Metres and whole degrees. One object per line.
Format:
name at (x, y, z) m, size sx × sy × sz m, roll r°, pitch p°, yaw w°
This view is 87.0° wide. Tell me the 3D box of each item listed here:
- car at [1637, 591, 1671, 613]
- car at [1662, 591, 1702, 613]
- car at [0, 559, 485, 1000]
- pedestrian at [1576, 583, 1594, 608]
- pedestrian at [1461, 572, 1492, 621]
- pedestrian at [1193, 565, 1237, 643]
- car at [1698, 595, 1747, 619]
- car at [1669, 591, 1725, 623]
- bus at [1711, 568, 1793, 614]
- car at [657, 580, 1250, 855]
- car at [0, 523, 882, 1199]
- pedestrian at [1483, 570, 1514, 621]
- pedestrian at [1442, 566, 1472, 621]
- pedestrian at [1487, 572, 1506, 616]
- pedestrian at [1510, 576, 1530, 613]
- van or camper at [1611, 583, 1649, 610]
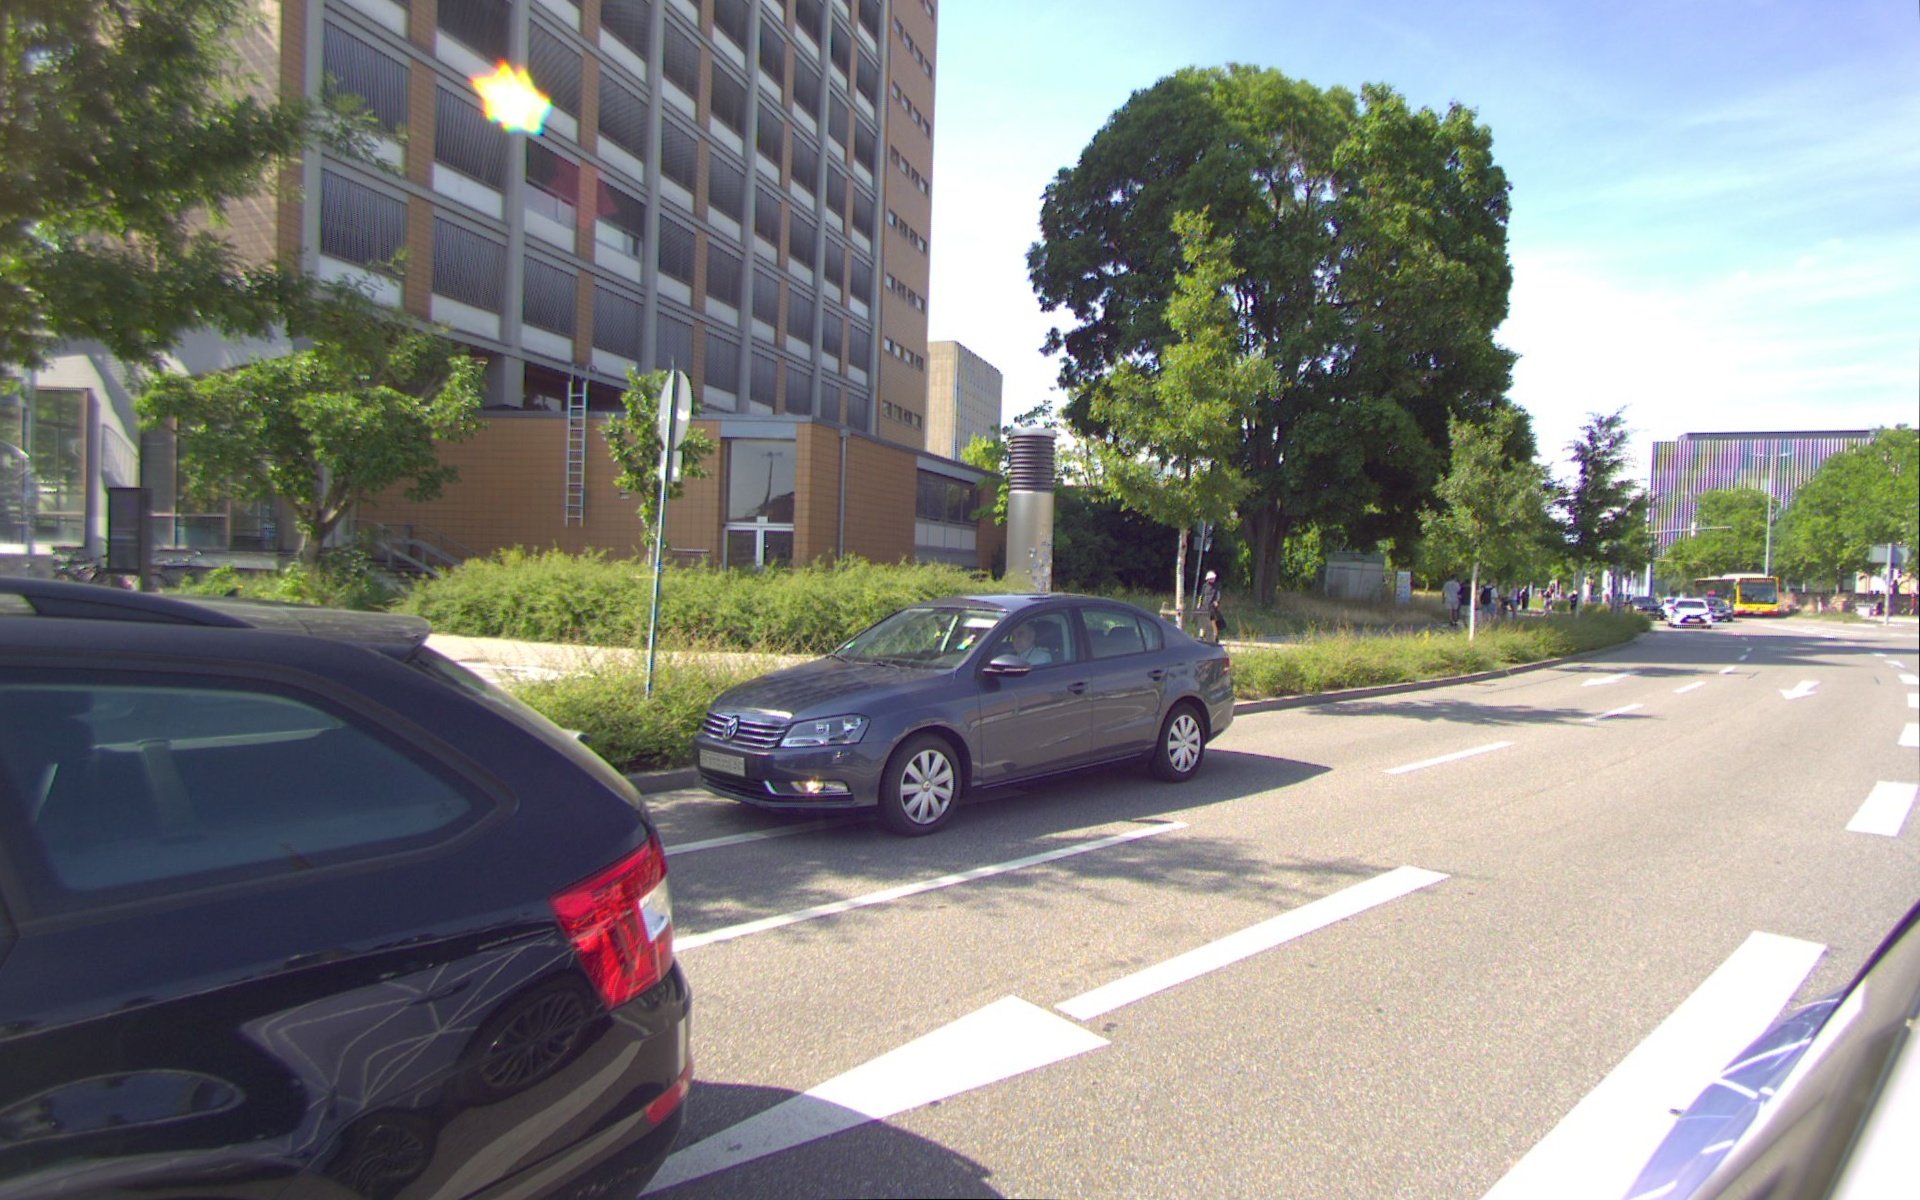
car at (43.877, 0.112, 64.006) m, size 1.398 × 1.311 × 3.544 m, roll 2°, pitch 2°, yaw 29°
car at (51.112, 0.116, 71.662) m, size 1.635 × 1.442 × 4.083 m, roll 0°, pitch 0°, yaw 26°
car at (-4.199, 0.559, 3.484) m, size 4.324 × 1.447 × 1.702 m, roll 1°, pitch 1°, yaw -43°
pedestrian at (29.017, -0.218, 47.008) m, size 0.639 × 1.145 × 0.743 m, roll 4°, pitch 3°, yaw 33°
pedestrian at (17.704, -0.122, 34.706) m, size 0.719 × 1.646 × 0.643 m, roll 0°, pitch 3°, yaw -41°
pedestrian at (5.685, 0.079, 22.592) m, size 0.719 × 1.684 × 0.592 m, roll 0°, pitch 3°, yaw -41°
car at (47.348, 0.405, 62.901) m, size 1.635 × 1.442 × 4.083 m, roll 0°, pitch 0°, yaw 26°
car at (36.665, 0.311, 50.452) m, size 1.666 × 1.493 × 3.724 m, roll 0°, pitch 0°, yaw 27°
bus at (58.617, -0.676, 75.189) m, size 2.773 × 3.076 × 12.025 m, roll 2°, pitch 1°, yaw 29°
car at (0.207, 0.590, 7.485) m, size 4.451 × 1.453 × 1.633 m, roll -1°, pitch 1°, yaw -42°
car at (-2.437, 0.632, 1.097) m, size 4.698 × 1.453 × 1.633 m, roll -1°, pitch 1°, yaw -42°
pedestrian at (18.359, -0.153, 34.515) m, size 0.739 × 1.694 × 0.643 m, roll 0°, pitch 3°, yaw -41°
pedestrian at (17.280, -0.229, 35.197) m, size 0.719 × 1.860 × 0.643 m, roll 0°, pitch 3°, yaw -41°
pedestrian at (22.356, -0.252, 42.172) m, size 0.638 × 1.785 × 0.470 m, roll 3°, pitch 3°, yaw 29°
pedestrian at (23.119, -0.240, 41.772) m, size 0.638 × 1.464 × 0.564 m, roll 3°, pitch 3°, yaw 29°
van or camper at (49.392, -0.292, 74.659) m, size 1.714 × 1.911 × 4.876 m, roll 2°, pitch 2°, yaw 27°
